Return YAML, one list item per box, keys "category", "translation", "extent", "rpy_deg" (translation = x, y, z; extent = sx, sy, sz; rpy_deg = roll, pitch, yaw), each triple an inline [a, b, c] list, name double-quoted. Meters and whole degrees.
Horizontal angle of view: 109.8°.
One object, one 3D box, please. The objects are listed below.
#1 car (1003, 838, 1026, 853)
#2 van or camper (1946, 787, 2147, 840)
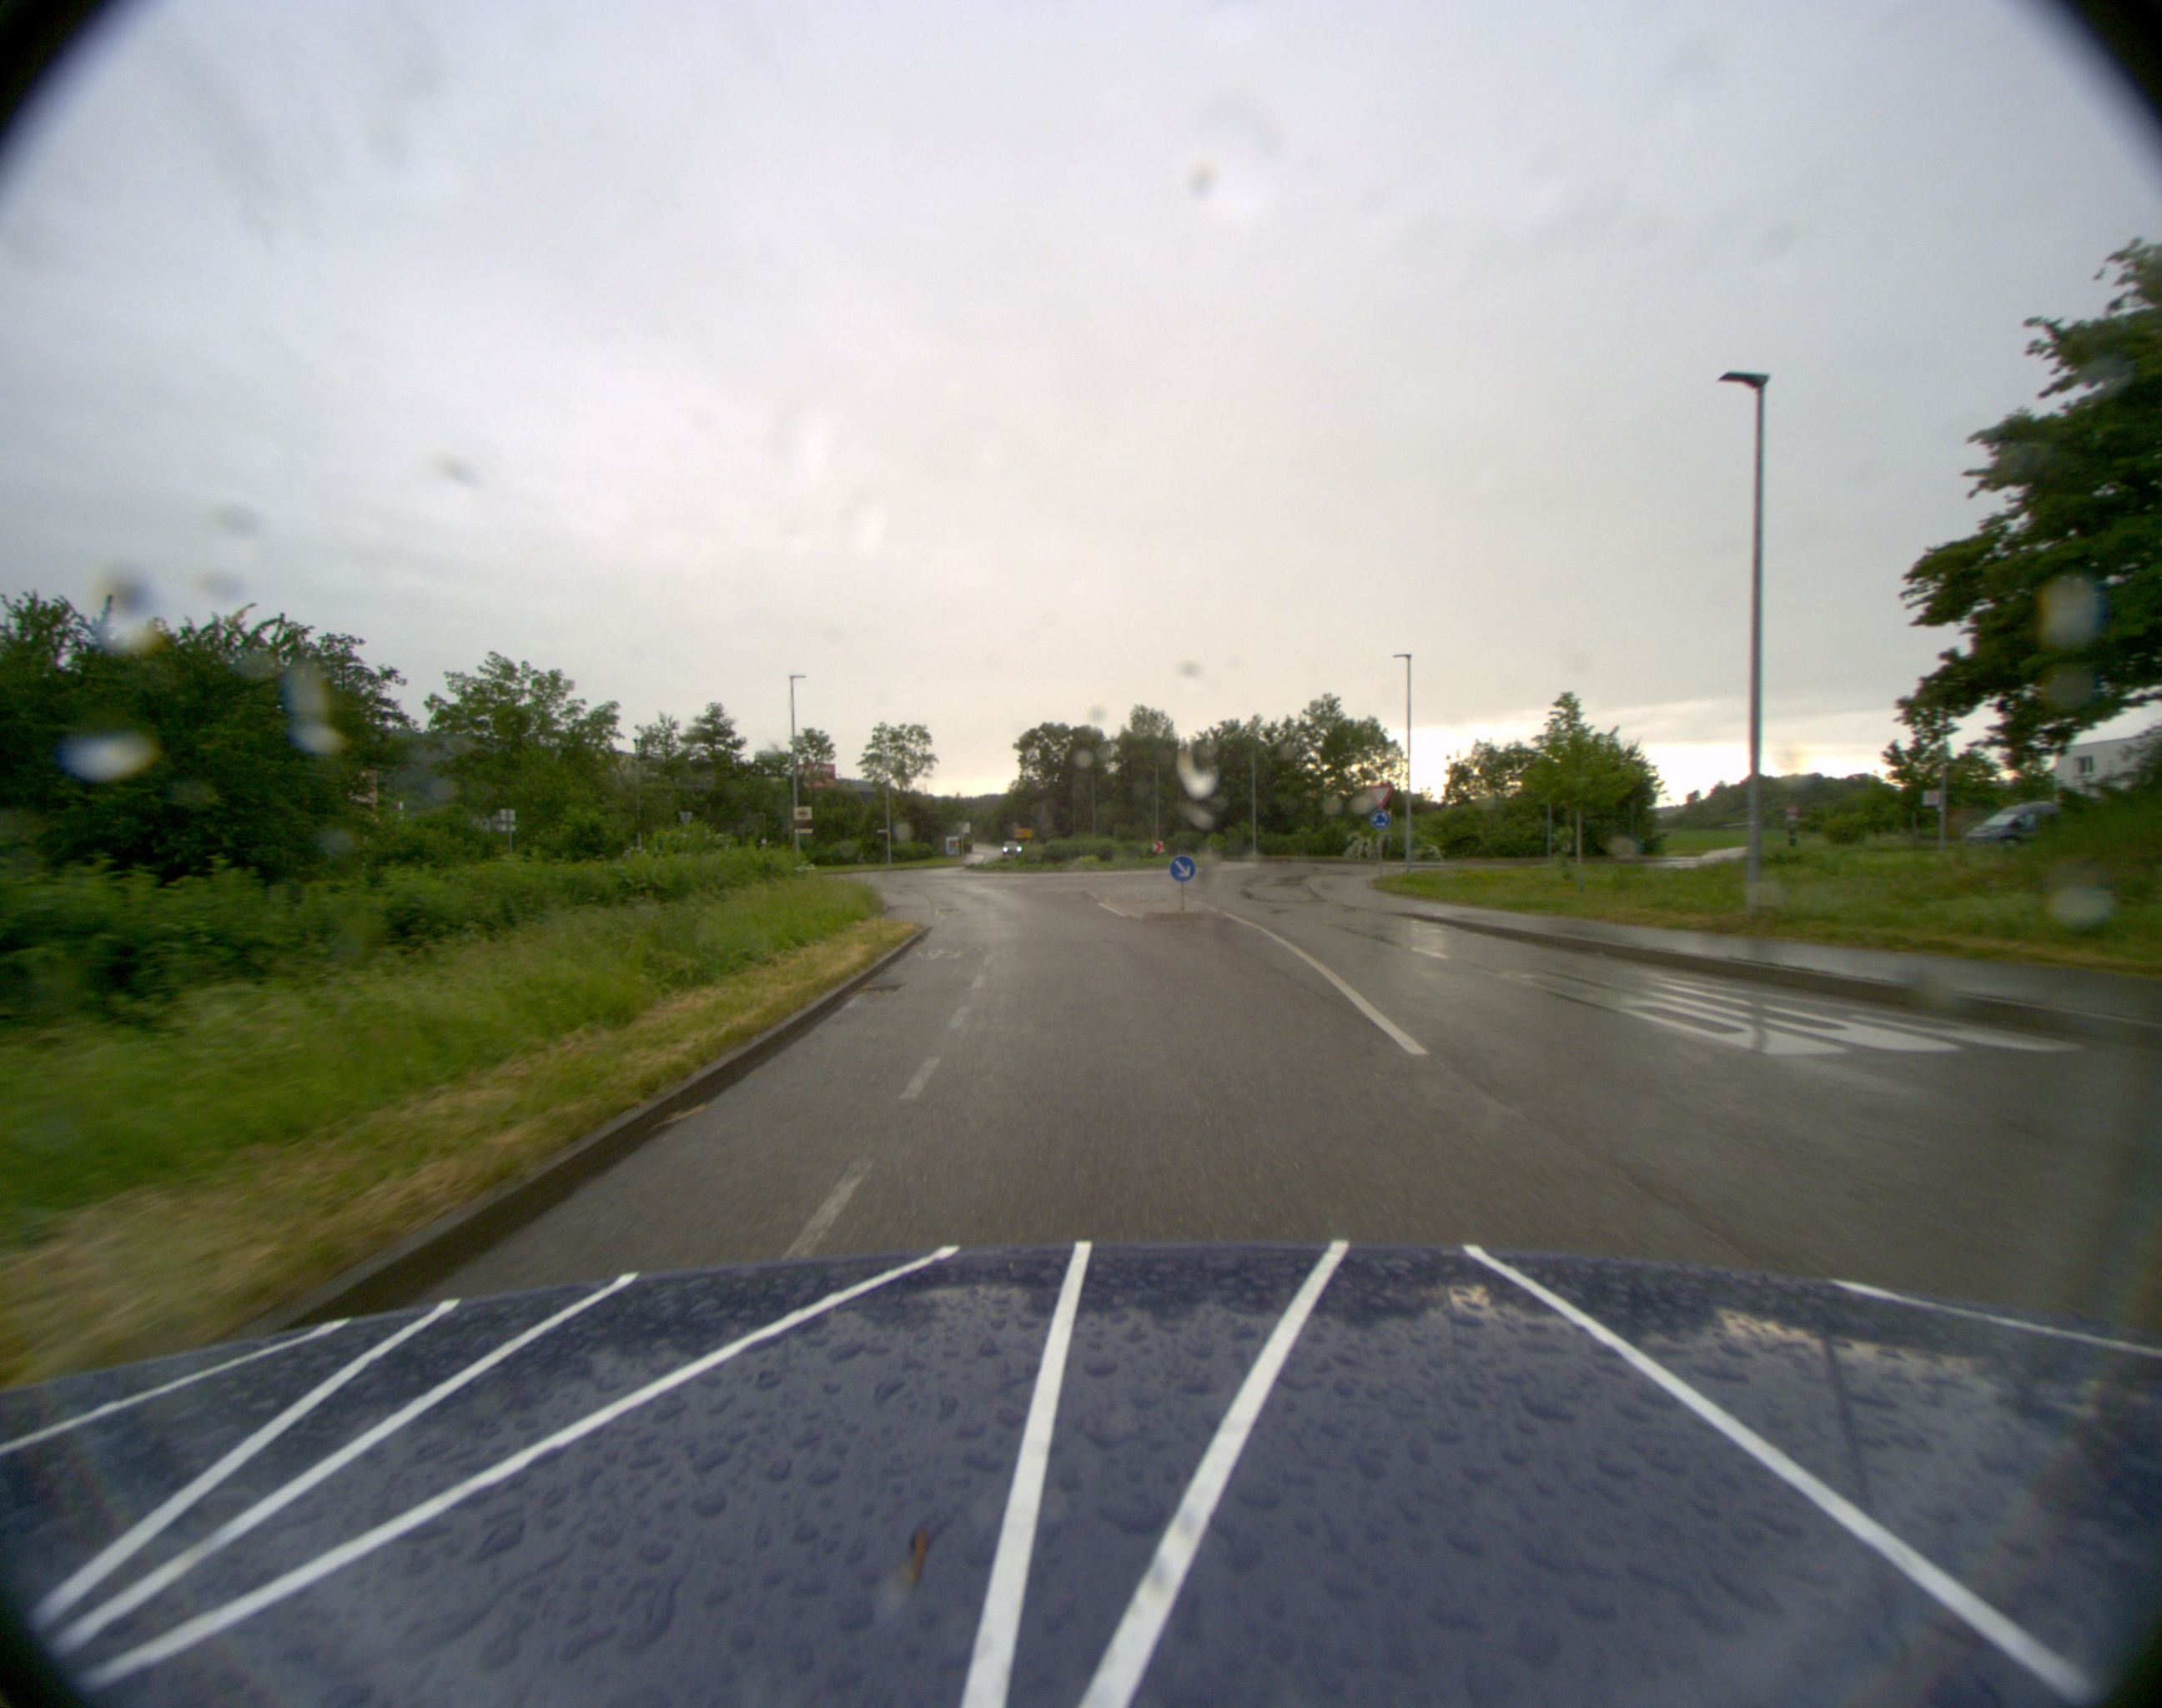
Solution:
- category: "car"
  translation: [-6.782, -0.909, 77.408]
  extent: [1.857, 1.481, 4.116]
  rpy_deg: [-2, 2, -10]
- category: "van or camper"
  translation: [51.805, -2.131, 41.032]
  extent: [6.192, 2.480, 2.535]
  rpy_deg: [-1, 2, 27]
